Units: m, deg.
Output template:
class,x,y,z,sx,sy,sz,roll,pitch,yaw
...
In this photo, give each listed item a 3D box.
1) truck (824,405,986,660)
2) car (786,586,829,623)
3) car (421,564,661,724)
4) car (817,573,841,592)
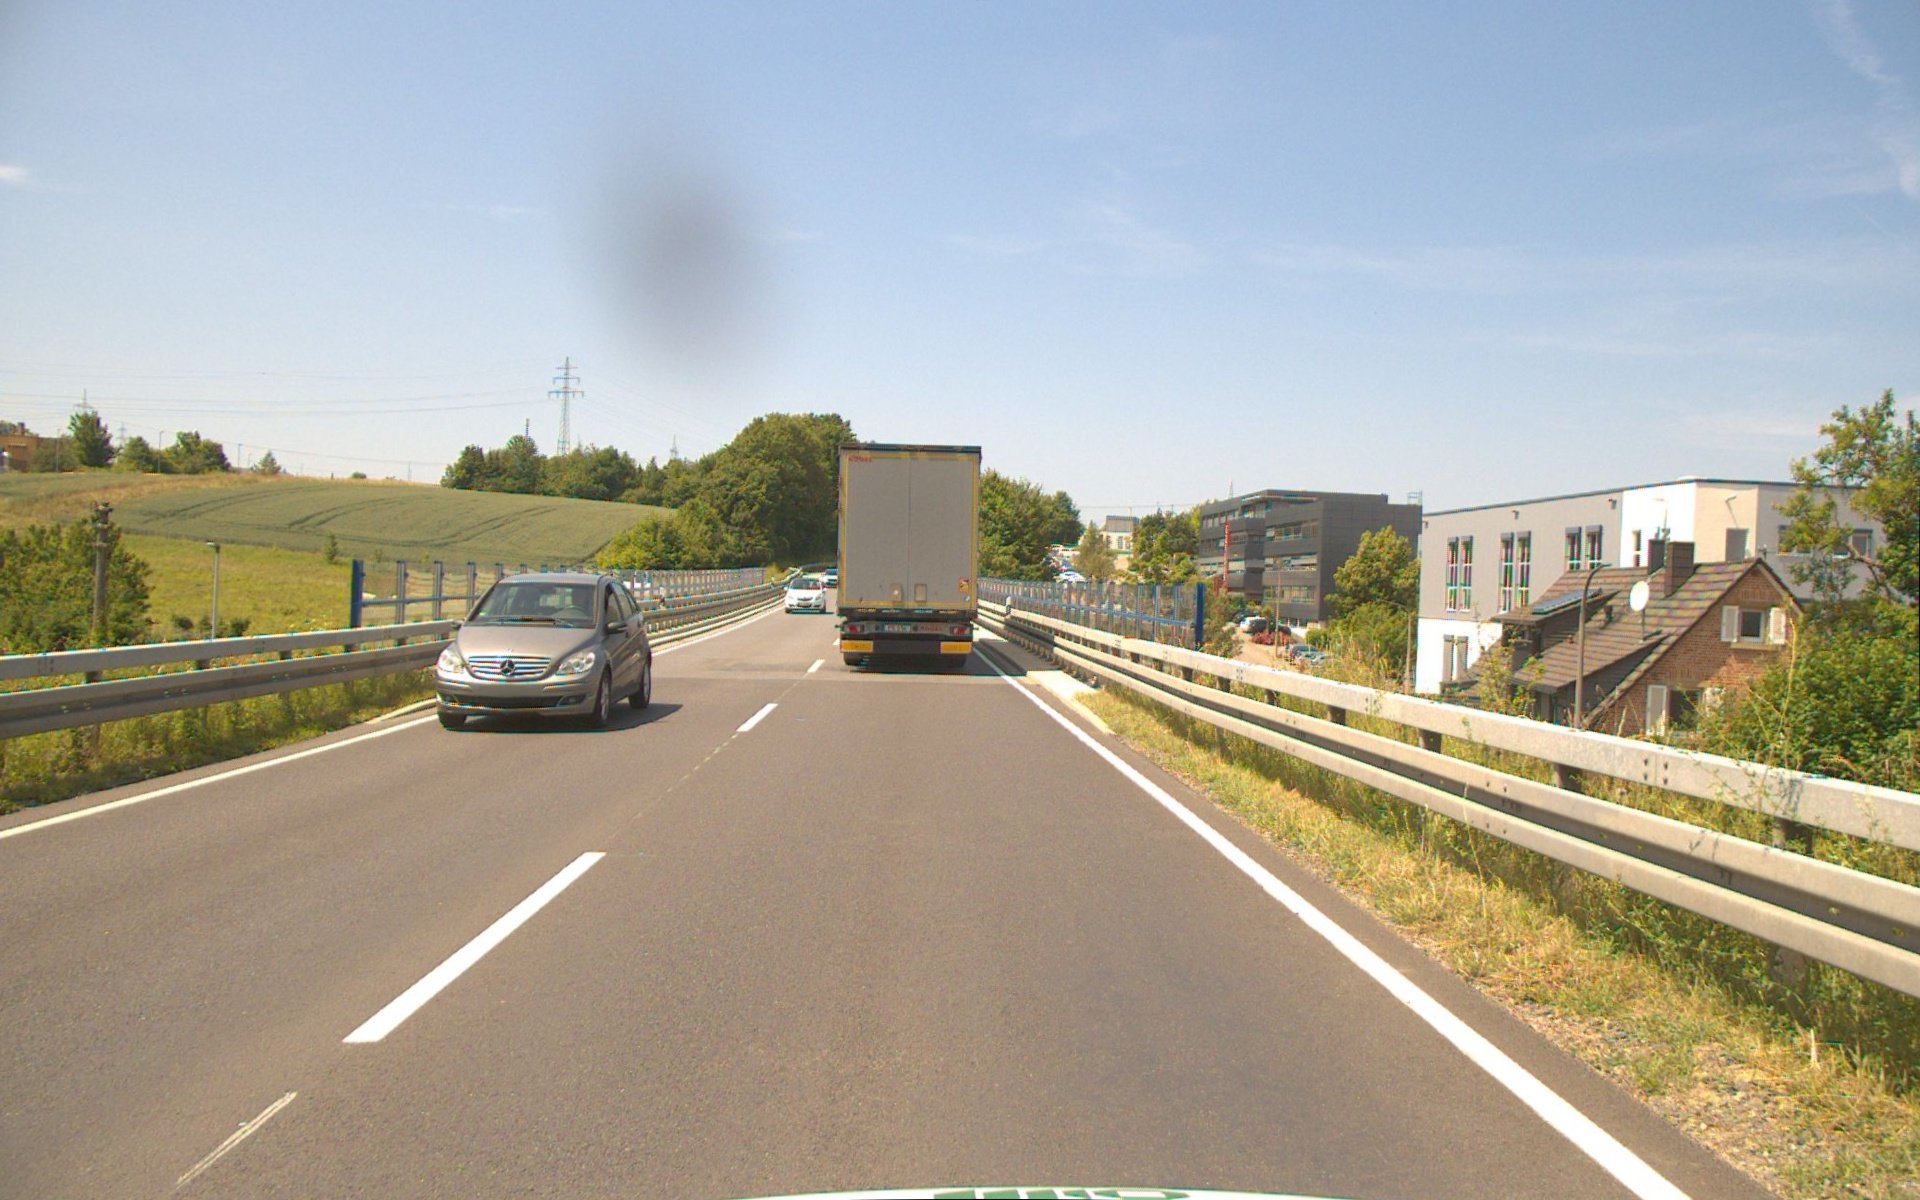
class,x,y,z,sx,sy,sz,roll,pitch,yaw
truck,-1.153,-1.157,33.669,2.808,4.436,9.783,0,0,-2
car,-6.550,0.181,71.446,1.673,1.531,4.117,0,0,-3
car,-4.638,0.441,18.932,1.770,1.617,4.377,0,0,-2
car,-10.290,-1.392,130.133,1.746,1.461,4.831,0,1,-4
